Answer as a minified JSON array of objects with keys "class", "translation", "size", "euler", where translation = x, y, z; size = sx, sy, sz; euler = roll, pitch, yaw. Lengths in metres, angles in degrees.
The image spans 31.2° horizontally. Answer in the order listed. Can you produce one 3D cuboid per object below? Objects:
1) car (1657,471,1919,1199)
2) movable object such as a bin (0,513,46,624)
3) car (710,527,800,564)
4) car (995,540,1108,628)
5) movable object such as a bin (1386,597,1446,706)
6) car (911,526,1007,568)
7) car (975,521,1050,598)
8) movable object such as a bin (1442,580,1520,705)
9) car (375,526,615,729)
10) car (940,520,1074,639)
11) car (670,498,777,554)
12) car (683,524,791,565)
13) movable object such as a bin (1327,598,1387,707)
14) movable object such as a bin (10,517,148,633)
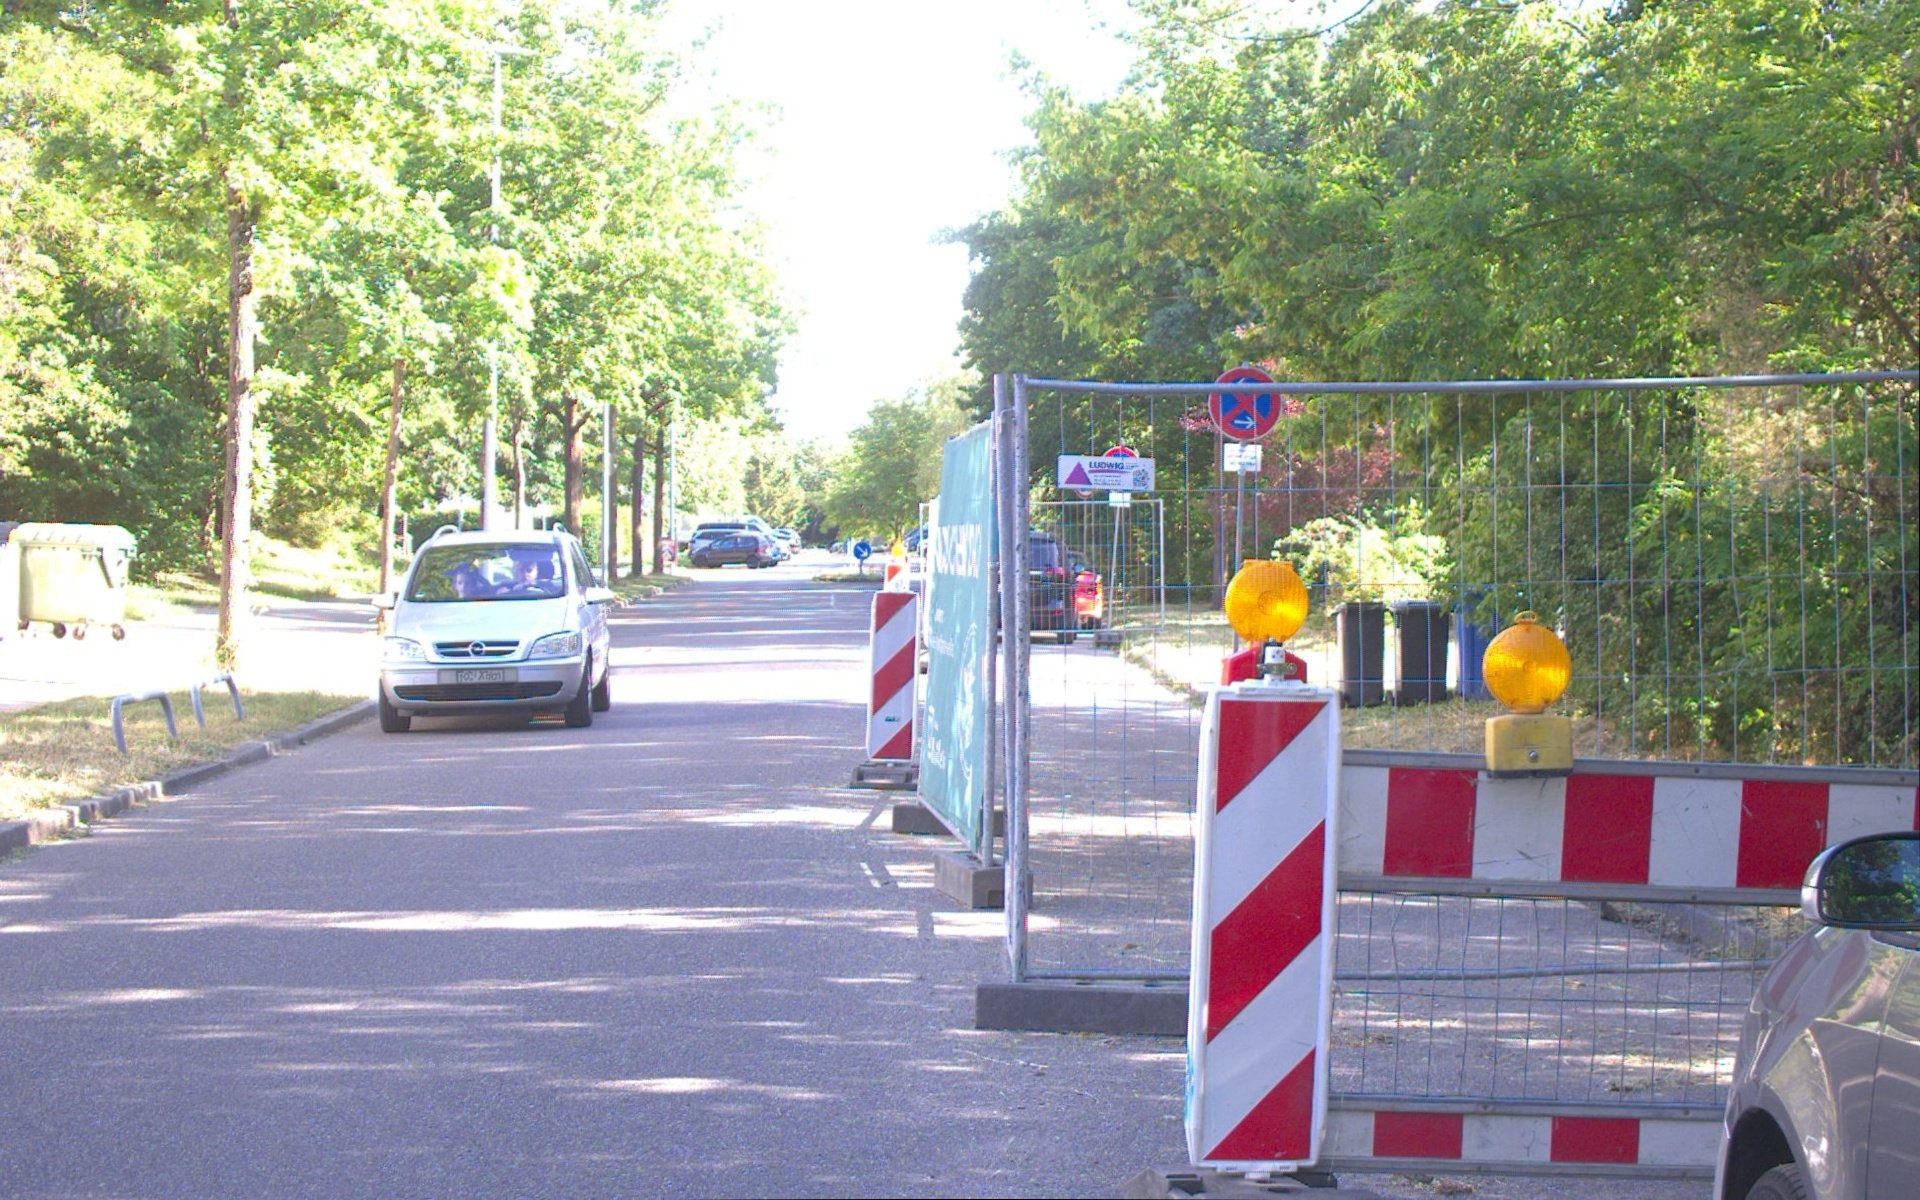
[{"class":"car","translation":[2.051,0.688,3.498],"size":[1.678,1.616,4.138],"euler":[2,1,-2]},{"class":"movable object such as a bin","translation":[-12.733,-0.423,44.972],"size":[1.141,1.430,1.273],"euler":[0,1,-35]},{"class":"car","translation":[-9.804,-2.613,164.506],"size":[4.107,1.571,1.958],"euler":[2,1,1]},{"class":"car","translation":[1.523,-0.304,58.697],"size":[1.661,1.371,4.155],"euler":[2,1,-2]},{"class":"movable object such as a bin","translation":[3.732,0.416,28.159],"size":[0.413,0.867,0.484],"euler":[-1,1,-1]},{"class":"car","translation":[-0.031,-2.214,143.819],"size":[3.839,1.571,1.688],"euler":[2,1,6]},{"class":"car","translation":[1.257,-0.993,83.259],"size":[1.623,1.767,3.669],"euler":[2,1,-1]},{"class":"movable object such as a bin","translation":[4.251,0.342,28.072],"size":[0.519,0.996,0.608],"euler":[-1,1,-1]},{"class":"car","translation":[-3.836,0.173,28.894],"size":[1.659,1.590,4.009],"euler":[0,1,-3]},{"class":"car","translation":[0.757,-0.329,51.876],"size":[1.810,1.645,4.420],"euler":[2,1,3]},{"class":"car","translation":[-11.944,-3.743,173.405],"size":[5.199,2.612,2.294],"euler":[2,1,-6]},{"class":"car","translation":[-9.607,-2.404,148.202],"size":[4.319,1.571,2.046],"euler":[2,1,6]},{"class":"movable object such as a bin","translation":[3.243,0.427,28.110],"size":[0.413,0.867,0.484],"euler":[-1,1,-1]},{"class":"movable object such as a bin","translation":[-11.118,-0.325,43.401],"size":[1.270,1.430,1.181],"euler":[1,1,15]}]
